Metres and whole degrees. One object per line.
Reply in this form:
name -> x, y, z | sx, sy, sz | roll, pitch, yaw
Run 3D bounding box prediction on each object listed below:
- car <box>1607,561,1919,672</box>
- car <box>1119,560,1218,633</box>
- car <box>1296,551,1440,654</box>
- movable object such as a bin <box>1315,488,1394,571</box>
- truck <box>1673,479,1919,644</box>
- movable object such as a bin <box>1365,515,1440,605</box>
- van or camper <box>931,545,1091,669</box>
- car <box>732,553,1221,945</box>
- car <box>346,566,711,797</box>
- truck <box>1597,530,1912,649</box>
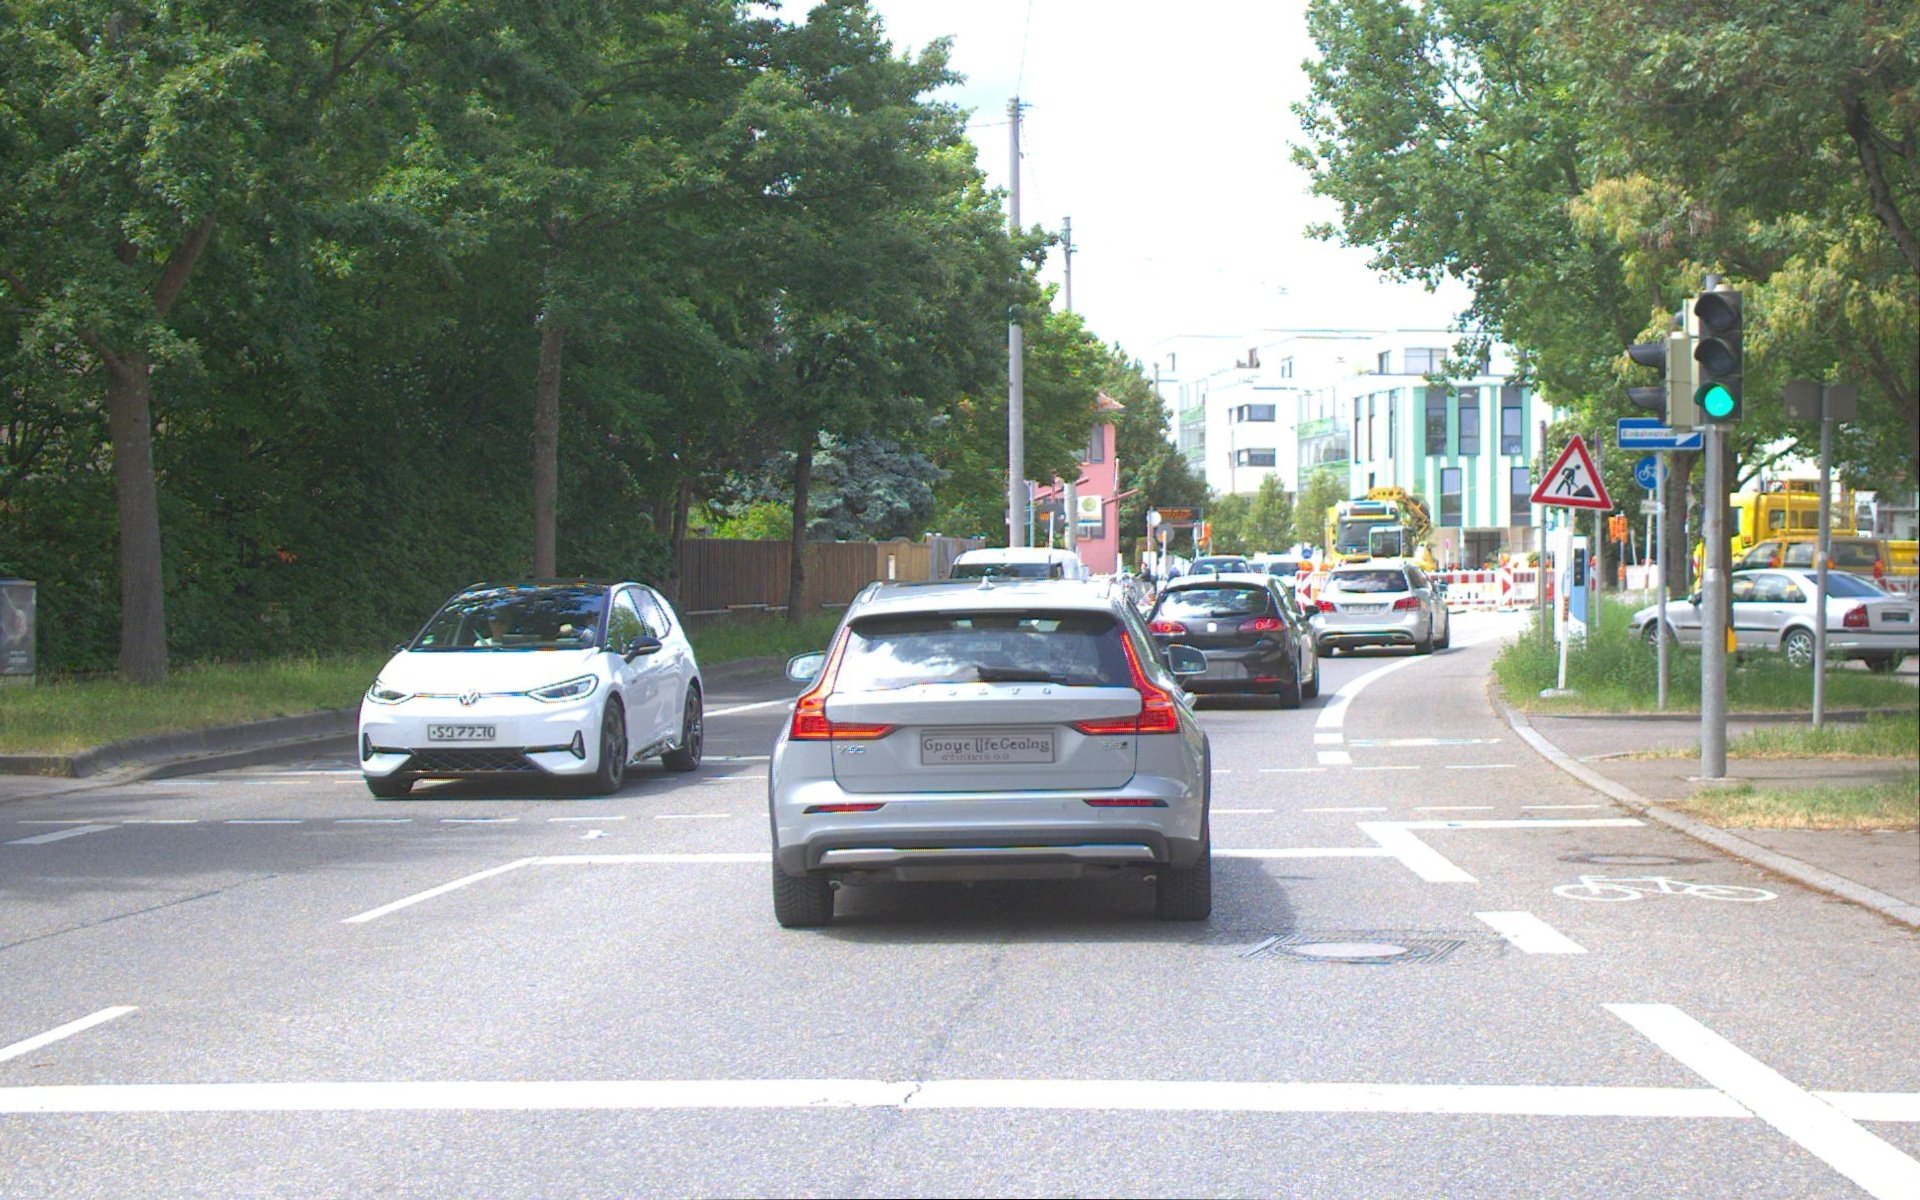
car -> 11.554, 0.204, 49.070 | 1.762, 1.447, 4.689 | 0, 1, -34
car -> 5.031, -0.098, 82.576 | 1.881, 1.681, 4.245 | -1, 0, 10
car -> 6.606, 0.059, 55.338 | 2.103, 1.505, 3.998 | 3, 0, 9
movable object such as a bin -> 14.578, -2.582, 127.288 | 2.310, 2.980, 6.426 | 0, 1, 1
truck -> 17.105, -0.709, 65.432 | 2.761, 2.998, 6.706 | 3, 0, -36
movable object such as a bin -> 13.430, -1.203, 104.026 | 2.035, 2.634, 5.937 | 0, 1, 9
van or camper -> 0.810, 0.070, 51.287 | 1.861, 1.770, 4.379 | 0, 1, 8
car -> 0.170, 0.582, 15.540 | 1.928, 1.535, 4.000 | 0, 0, 3
car -> -3.142, 0.579, 25.825 | 1.899, 1.574, 3.999 | -1, 0, 5
truck -> 14.653, -0.226, 63.741 | 1.994, 2.007, 5.677 | 3, 0, -36
